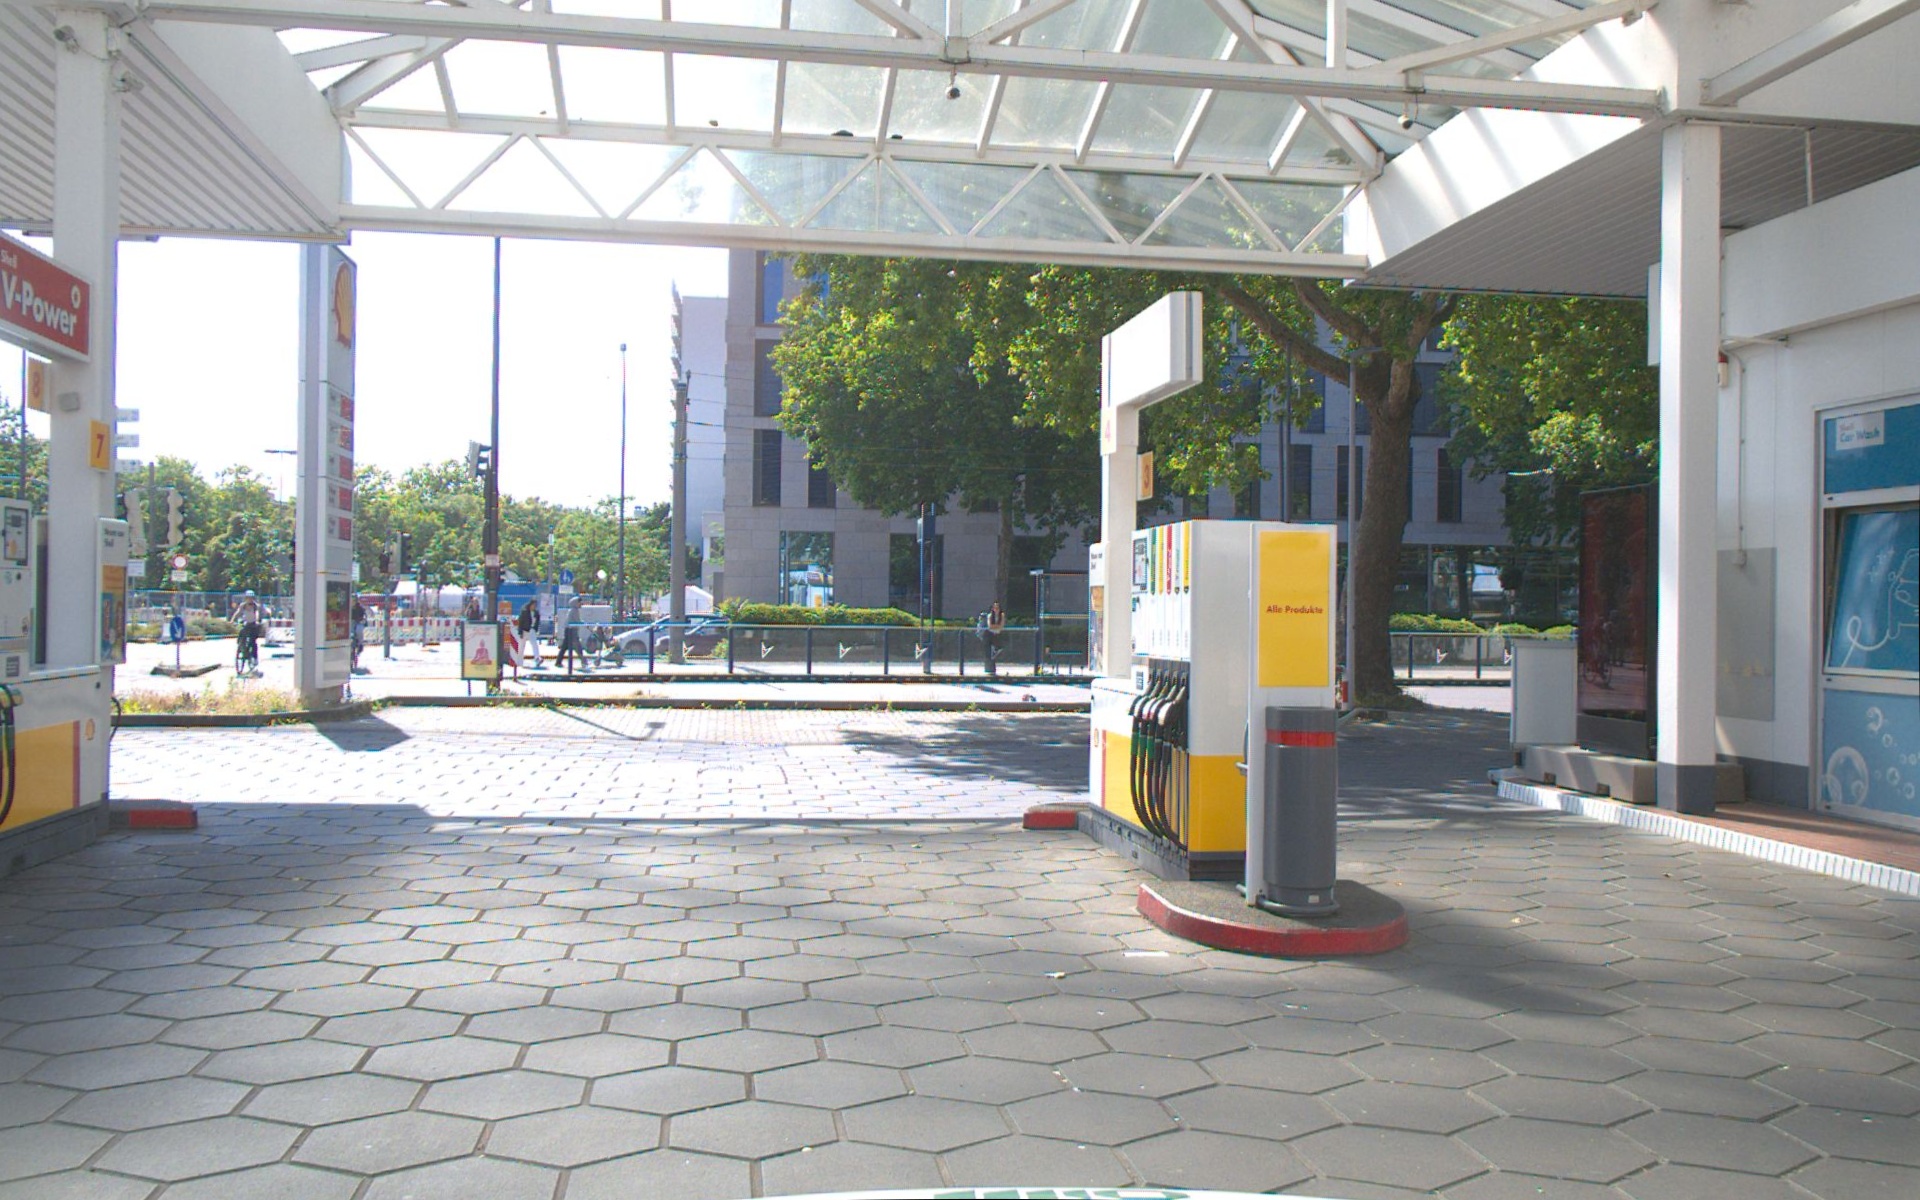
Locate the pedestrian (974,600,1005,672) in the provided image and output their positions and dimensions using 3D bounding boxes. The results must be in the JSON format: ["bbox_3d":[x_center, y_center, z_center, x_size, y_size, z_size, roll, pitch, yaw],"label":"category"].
[{"bbox_3d":[0.680,0.832,38.359,0.573,1.619,0.669,1,1,-9],"label":"pedestrian"}]

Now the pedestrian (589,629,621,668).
[{"bbox_3d":[-8.299,1.141,38.700,0.677,0.896,0.502,1,-1,-8],"label":"pedestrian"}]

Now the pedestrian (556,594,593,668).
[{"bbox_3d":[-9.008,0.731,38.626,0.762,1.712,0.502,1,-1,-7],"label":"pedestrian"}]

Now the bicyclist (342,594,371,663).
[{"bbox_3d":[-13.994,0.664,38.348,0.526,1.571,0.859,1,-1,-25],"label":"bicyclist"}]

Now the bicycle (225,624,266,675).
[{"bbox_3d":[-15.944,1.095,36.947,0.628,1.101,2.016,1,-1,-17],"label":"bicycle"}]

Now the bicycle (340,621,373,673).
[{"bbox_3d":[-13.987,1.079,38.309,0.517,1.101,1.852,1,1,-26],"label":"bicycle"}]

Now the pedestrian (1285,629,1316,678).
[{"bbox_3d":[8.208,1.285,39.872,0.615,1.158,0.524,1,-1,-2],"label":"pedestrian"}]

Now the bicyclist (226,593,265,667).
[{"bbox_3d":[-15.932,0.659,36.910,0.627,1.608,1.168,1,-1,-17],"label":"bicyclist"}]

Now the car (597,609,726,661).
[{"bbox_3d":[-9.490,1.106,52.548,3.919,1.579,1.697,1,-1,-14],"label":"car"}]

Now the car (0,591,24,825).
[{"bbox_3d":[-7.006,0.705,9.301,1.711,1.558,3.991,-1,-1,-9],"label":"car"}]

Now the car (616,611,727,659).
[{"bbox_3d":[-9.896,1.184,56.694,3.619,1.579,1.586,1,-1,-14],"label":"car"}]

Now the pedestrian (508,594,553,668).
[{"bbox_3d":[-10.174,0.733,39.201,0.913,1.712,0.503,1,-1,0],"label":"pedestrian"}]

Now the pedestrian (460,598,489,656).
[{"bbox_3d":[-13.386,0.747,45.595,0.637,1.567,0.503,1,-1,0],"label":"pedestrian"}]
